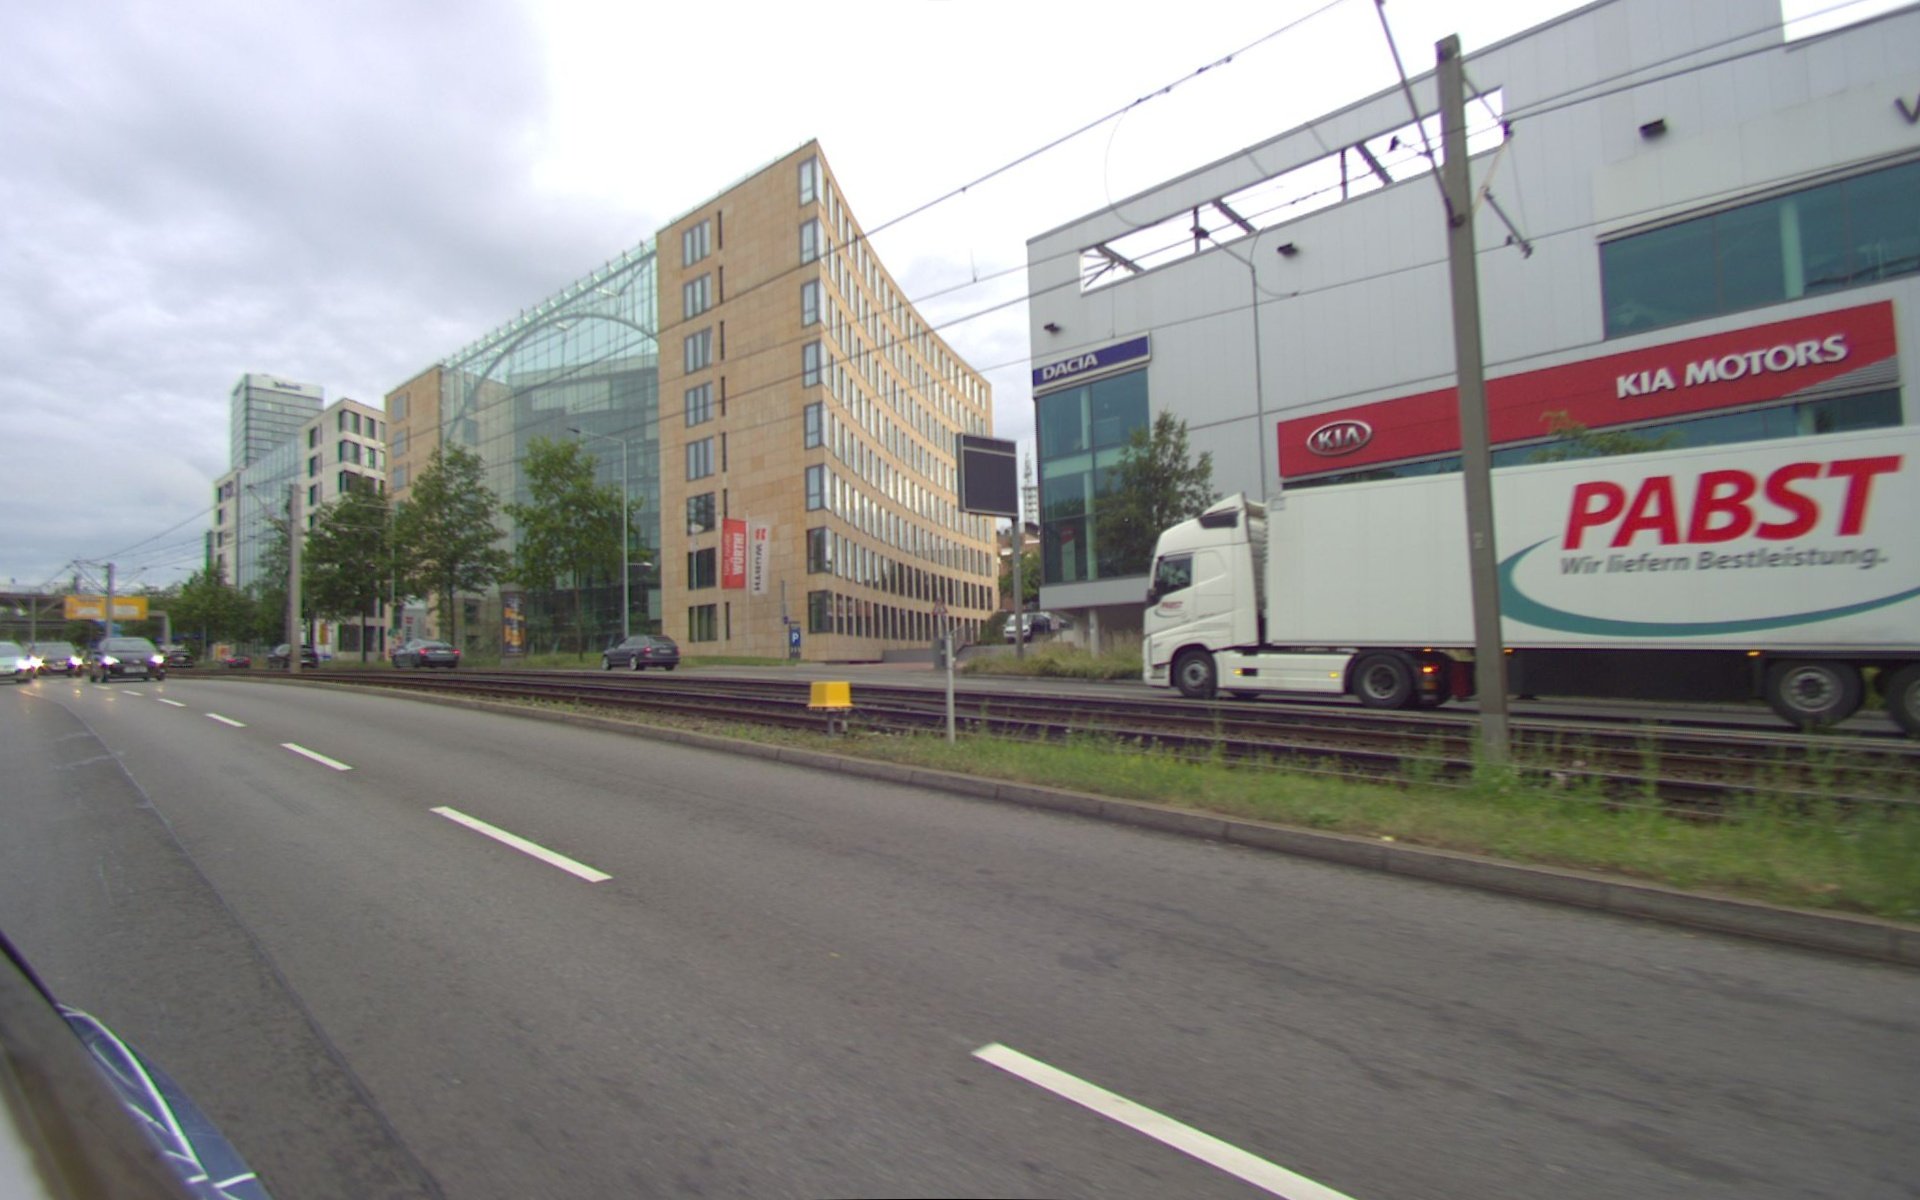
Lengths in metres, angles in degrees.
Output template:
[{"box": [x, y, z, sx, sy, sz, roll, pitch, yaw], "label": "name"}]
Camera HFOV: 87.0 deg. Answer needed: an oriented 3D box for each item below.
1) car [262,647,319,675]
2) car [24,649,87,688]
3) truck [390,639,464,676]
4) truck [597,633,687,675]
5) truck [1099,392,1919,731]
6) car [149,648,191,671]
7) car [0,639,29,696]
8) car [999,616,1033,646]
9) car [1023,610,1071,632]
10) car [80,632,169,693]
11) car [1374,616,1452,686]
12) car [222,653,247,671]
[{"box": [-38.055, 3.427, 57.485, 4.236, 1.473, 1.650, -1, -4, 41], "label": "car"}, {"box": [-41.296, 3.088, 46.162, 4.377, 1.556, 1.770, -1, -1, 43], "label": "car"}, {"box": [-24.869, 2.664, 47.144, 1.918, 1.580, 4.598, 3, -3, -42], "label": "truck"}, {"box": [-13.241, 2.204, 41.979, 1.917, 1.580, 4.552, 3, -3, -40], "label": "truck"}, {"box": [10.168, -0.329, 16.415, 17.208, 4.212, 3.007, -3, -2, 45], "label": "truck"}, {"box": [-62.203, 4.627, 79.635, 4.383, 1.628, 1.787, -1, -1, 40], "label": "car"}, {"box": [-34.305, 2.357, 35.735, 4.377, 1.883, 1.770, -1, -1, 43], "label": "car"}, {"box": [3.834, 2.068, 68.582, 1.862, 1.908, 3.989, 1, 0, 9], "label": "car"}, {"box": [7.479, 1.770, 86.740, 3.955, 1.776, 1.878, 1, 0, 10], "label": "car"}, {"box": [-28.391, 2.062, 34.353, 4.377, 1.883, 1.770, -1, -1, 43], "label": "car"}, {"box": [14.001, 1.509, 31.135, 2.009, 1.947, 4.927, -1, -2, 26], "label": "car"}, {"box": [-66.144, 5.629, 92.297, 1.645, 1.473, 4.250, -1, -1, -33], "label": "car"}]
